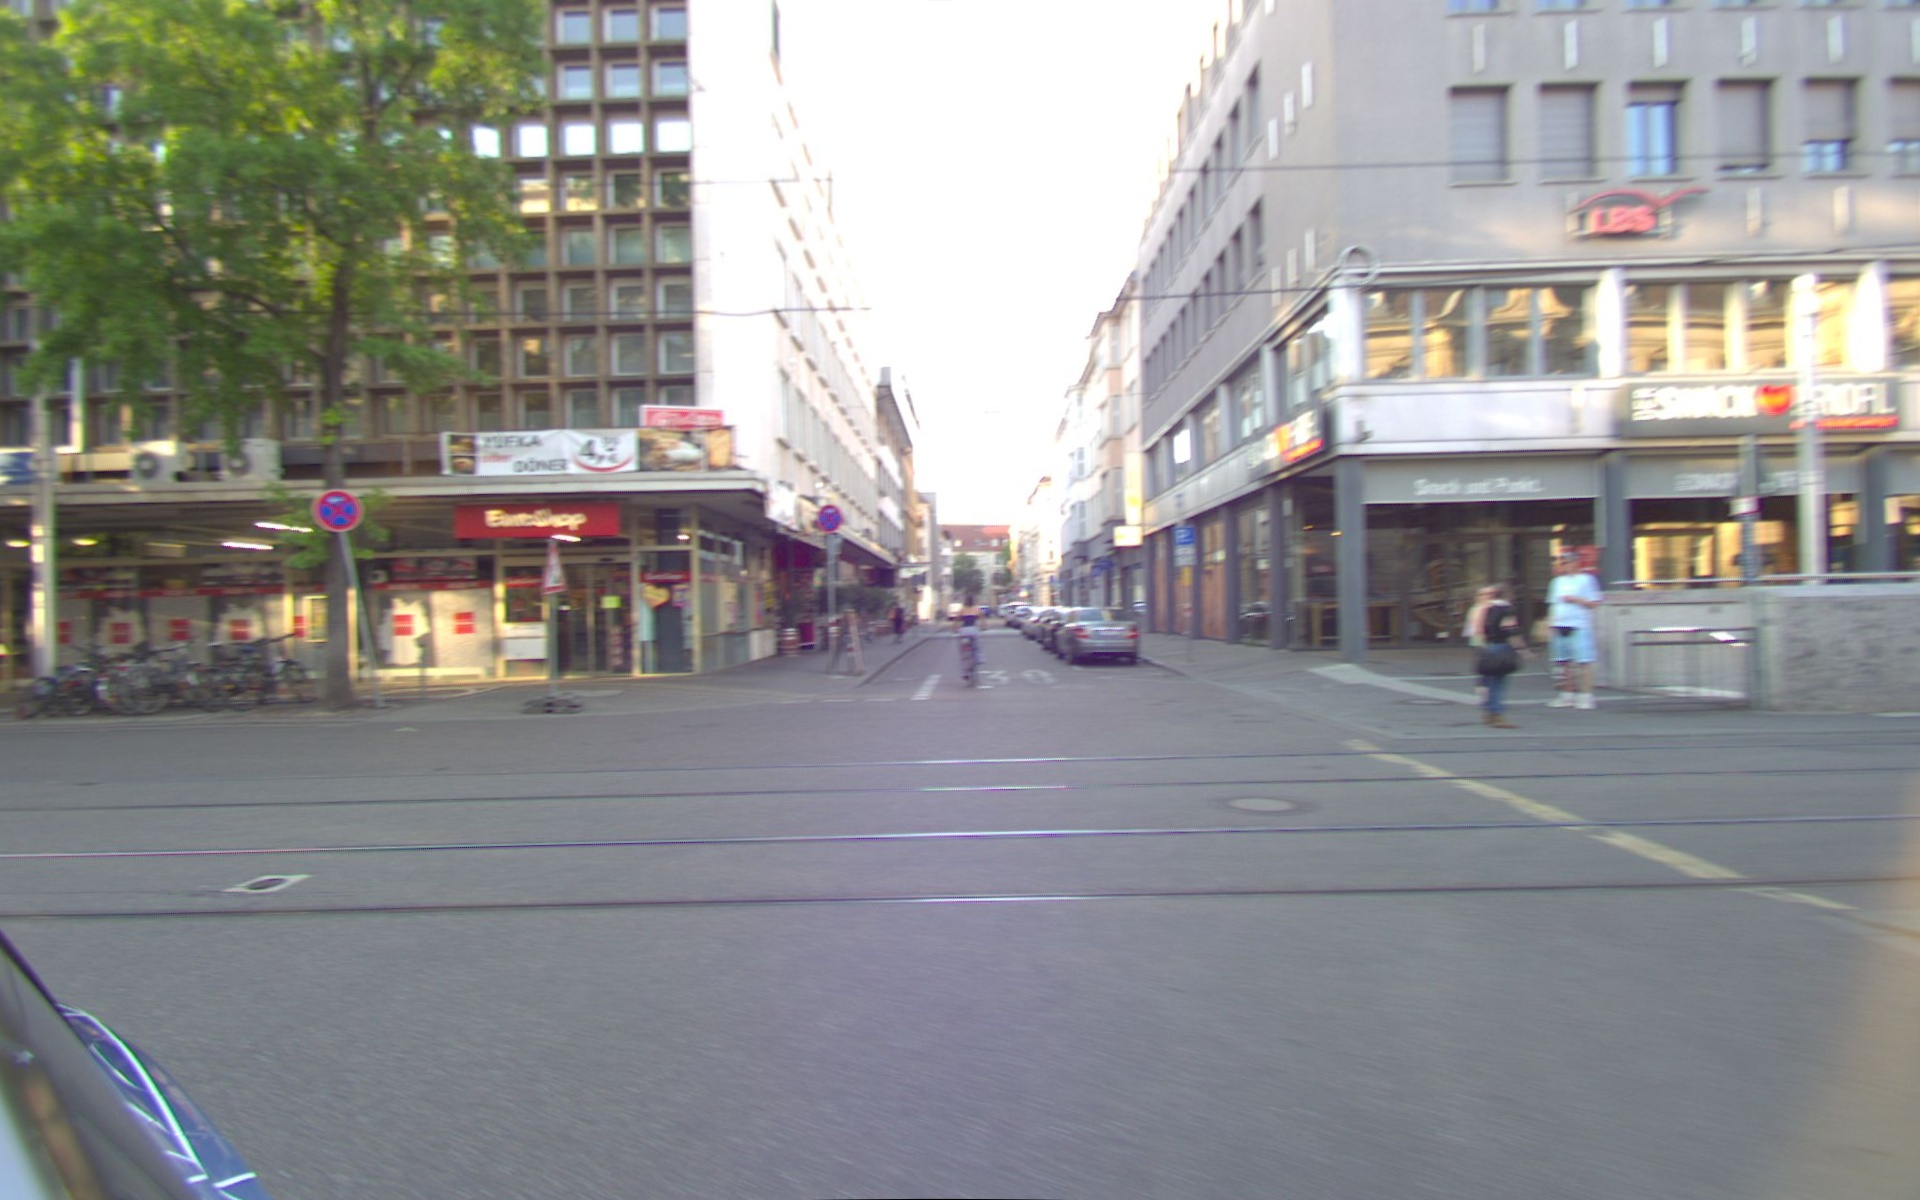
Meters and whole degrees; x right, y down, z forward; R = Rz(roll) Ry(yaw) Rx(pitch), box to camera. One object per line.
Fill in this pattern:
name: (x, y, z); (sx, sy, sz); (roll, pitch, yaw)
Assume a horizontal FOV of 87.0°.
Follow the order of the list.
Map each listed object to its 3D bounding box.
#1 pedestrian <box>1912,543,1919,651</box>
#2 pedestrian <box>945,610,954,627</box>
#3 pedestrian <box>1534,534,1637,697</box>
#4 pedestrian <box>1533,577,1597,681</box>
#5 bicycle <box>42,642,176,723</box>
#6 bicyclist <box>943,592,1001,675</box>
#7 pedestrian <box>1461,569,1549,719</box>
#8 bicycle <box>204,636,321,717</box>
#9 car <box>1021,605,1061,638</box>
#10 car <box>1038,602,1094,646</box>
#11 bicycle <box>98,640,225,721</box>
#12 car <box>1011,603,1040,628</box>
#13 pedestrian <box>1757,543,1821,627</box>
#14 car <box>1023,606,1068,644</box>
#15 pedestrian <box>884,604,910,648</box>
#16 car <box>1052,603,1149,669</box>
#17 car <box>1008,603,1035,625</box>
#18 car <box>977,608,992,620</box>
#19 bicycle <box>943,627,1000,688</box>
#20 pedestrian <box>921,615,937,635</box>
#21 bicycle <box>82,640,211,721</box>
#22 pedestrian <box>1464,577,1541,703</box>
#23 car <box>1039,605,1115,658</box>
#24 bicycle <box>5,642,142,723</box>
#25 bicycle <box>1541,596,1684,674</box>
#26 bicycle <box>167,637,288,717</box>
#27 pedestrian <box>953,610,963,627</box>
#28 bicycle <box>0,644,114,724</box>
pedestrian: (15.812, -0.064, 16.046); (0.699, 1.738, 0.716); (-1, -1, 0)
pedestrian: (-1.102, 1.907, 104.594); (0.859, 1.674, 0.930); (-2, -1, 2)
pedestrian: (7.707, 0.190, 12.497); (0.698, 1.941, 0.776); (-1, -1, -6)
pedestrian: (8.670, 0.410, 14.506); (0.684, 1.445, 0.548); (-2, -1, 40)
bicycle: (-13.065, 1.232, 15.608); (0.483, 1.053, 1.777); (-2, 1, 1)
bicyclist: (0.240, 0.640, 19.287); (0.988, 1.513, 0.855); (-2, -2, 8)
pedestrian: (5.896, 0.463, 10.952); (0.686, 1.553, 0.597); (-2, -1, 43)
bicycle: (-10.640, 1.131, 15.505); (0.483, 1.053, 1.777); (-2, 1, 1)
car: (3.934, 1.041, 49.878); (1.776, 1.522, 3.997); (-1, 0, 2)
car: (3.934, 0.868, 38.011); (1.776, 1.522, 3.997); (-1, 0, 2)
bicycle: (-12.255, 1.202, 15.599); (0.483, 1.053, 1.777); (-2, 1, 1)
car: (4.168, 0.988, 64.869); (1.776, 1.522, 3.997); (-1, 0, 2)
pedestrian: (17.509, -0.301, 21.394); (0.699, 1.738, 0.716); (-1, -1, 0)
car: (3.713, 1.062, 44.509); (1.776, 1.522, 3.997); (-1, 0, 2)
pedestrian: (-2.477, 1.009, 39.782); (0.860, 1.674, 0.930); (-2, -1, 4)
car: (3.473, 0.855, 25.791); (1.774, 1.522, 4.134); (-1, 0, -1)
car: (4.321, 0.965, 71.100); (1.776, 1.522, 3.997); (-1, 0, 2)
car: (3.166, 1.746, 128.458); (1.776, 1.522, 3.997); (-1, 0, 2)
bicycle: (0.250, 1.067, 19.268); (0.808, 1.081, 2.108); (-2, -2, 8)
pedestrian: (-2.740, 2.189, 89.679); (1.283, 1.674, 1.013); (-2, -1, 4)
bicycle: (-12.495, 1.203, 15.611); (0.483, 1.053, 1.777); (-2, 1, 1)
pedestrian: (6.704, 0.488, 12.527); (0.547, 1.505, 0.606); (-1, -1, -6)
car: (3.595, 0.928, 31.775); (1.774, 1.522, 4.134); (-1, 0, -1)
bicycle: (-13.628, 1.242, 15.630); (0.483, 1.053, 1.777); (-2, 1, 1)
bicycle: (10.263, 0.555, 15.954); (1.778, 1.116, 0.499); (-3, -1, 7)
bicycle: (-11.211, 1.148, 15.562); (0.483, 1.053, 1.777); (-2, 1, 1)
pedestrian: (-0.189, 1.880, 104.492); (0.964, 1.674, 0.977); (-2, -1, 2)
bicycle: (-14.111, 1.277, 15.651); (0.483, 1.053, 1.777); (-2, 1, 1)
